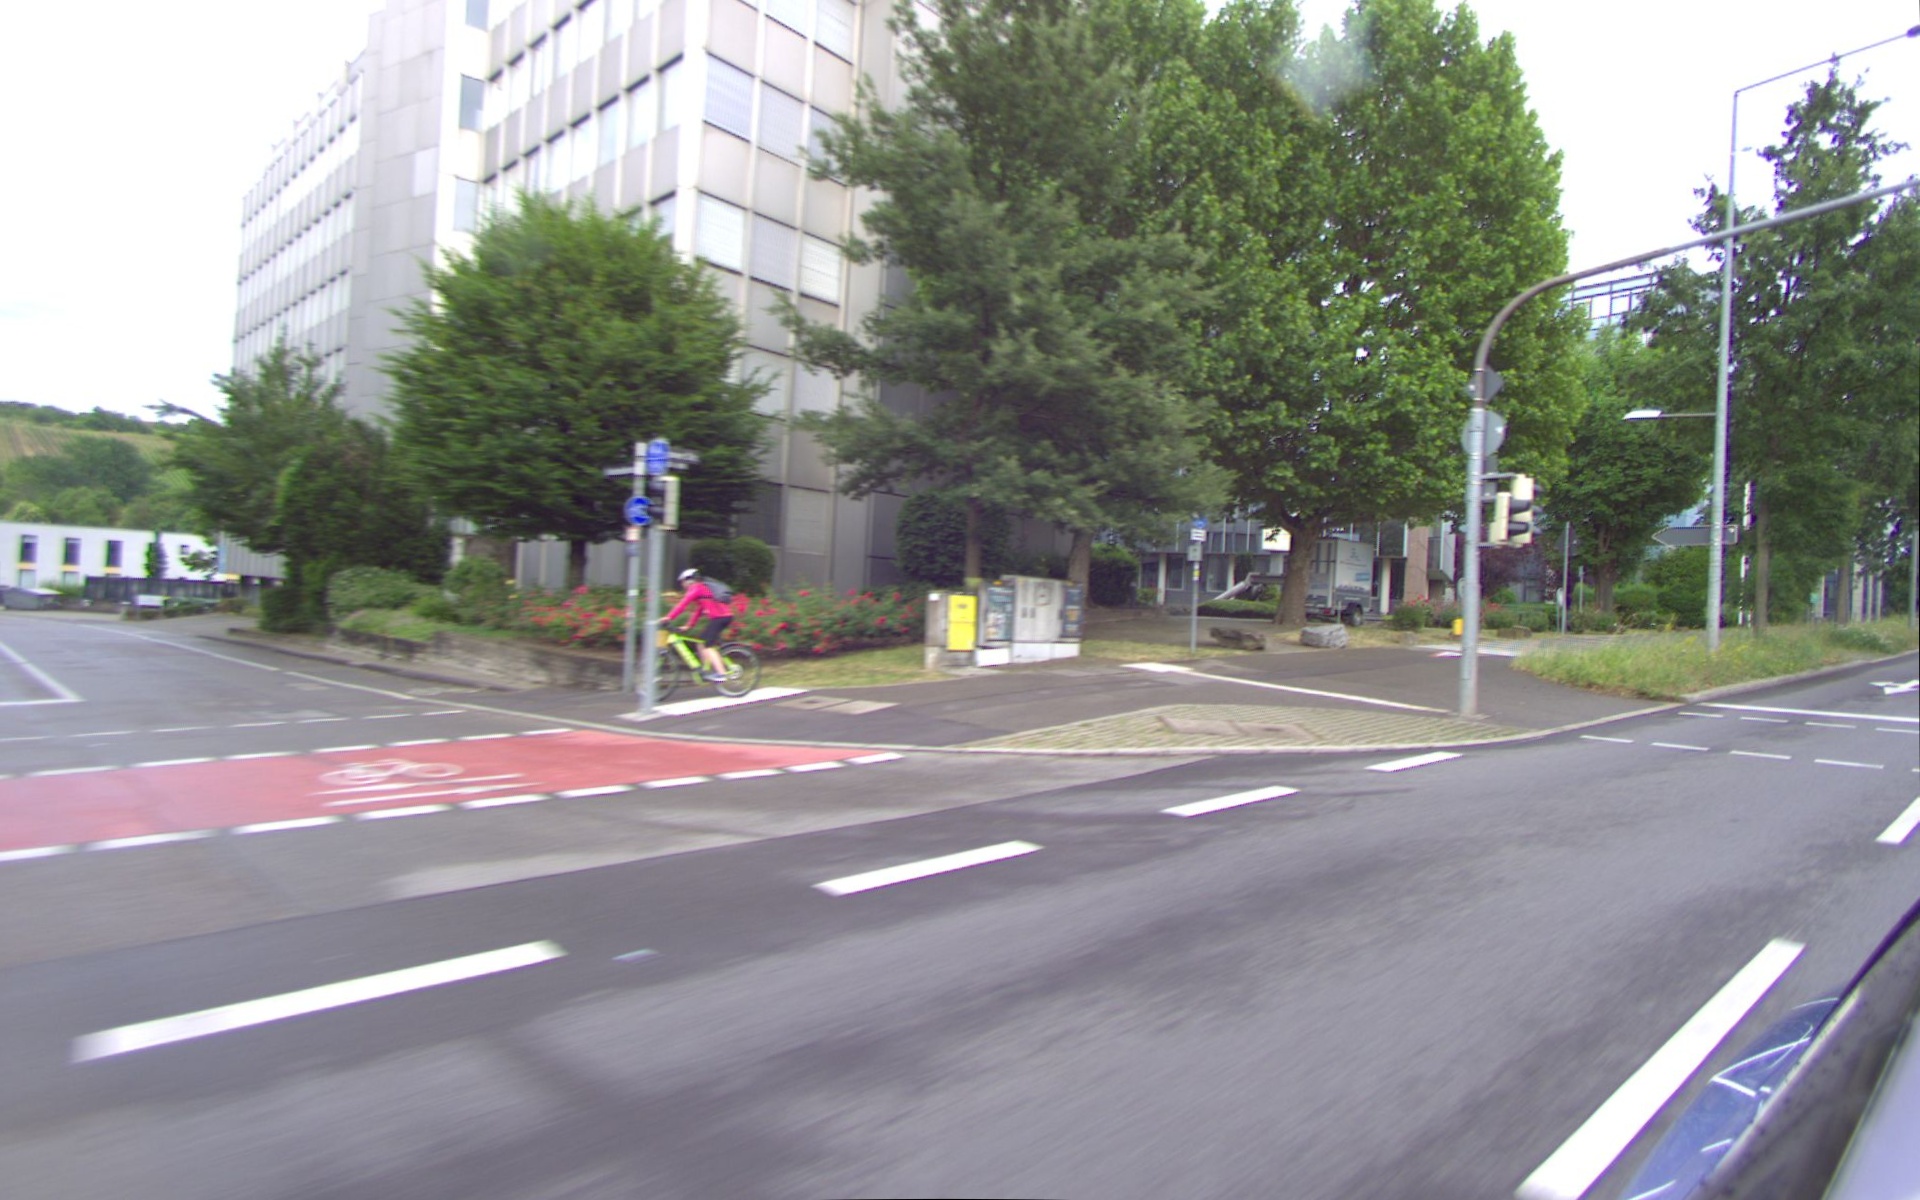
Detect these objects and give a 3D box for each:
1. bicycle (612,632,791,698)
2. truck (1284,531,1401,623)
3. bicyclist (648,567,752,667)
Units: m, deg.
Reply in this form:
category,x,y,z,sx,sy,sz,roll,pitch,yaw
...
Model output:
category,x,y,z,sx,sy,sz,roll,pitch,yaw
bicycle,-3.468,0.863,13.614,2.281,0.819,0.667,0,0,11
truck,11.429,-0.642,30.097,3.934,2.550,1.747,0,0,-44
bicyclist,-3.489,0.234,13.638,1.200,1.305,0.655,0,-1,11
